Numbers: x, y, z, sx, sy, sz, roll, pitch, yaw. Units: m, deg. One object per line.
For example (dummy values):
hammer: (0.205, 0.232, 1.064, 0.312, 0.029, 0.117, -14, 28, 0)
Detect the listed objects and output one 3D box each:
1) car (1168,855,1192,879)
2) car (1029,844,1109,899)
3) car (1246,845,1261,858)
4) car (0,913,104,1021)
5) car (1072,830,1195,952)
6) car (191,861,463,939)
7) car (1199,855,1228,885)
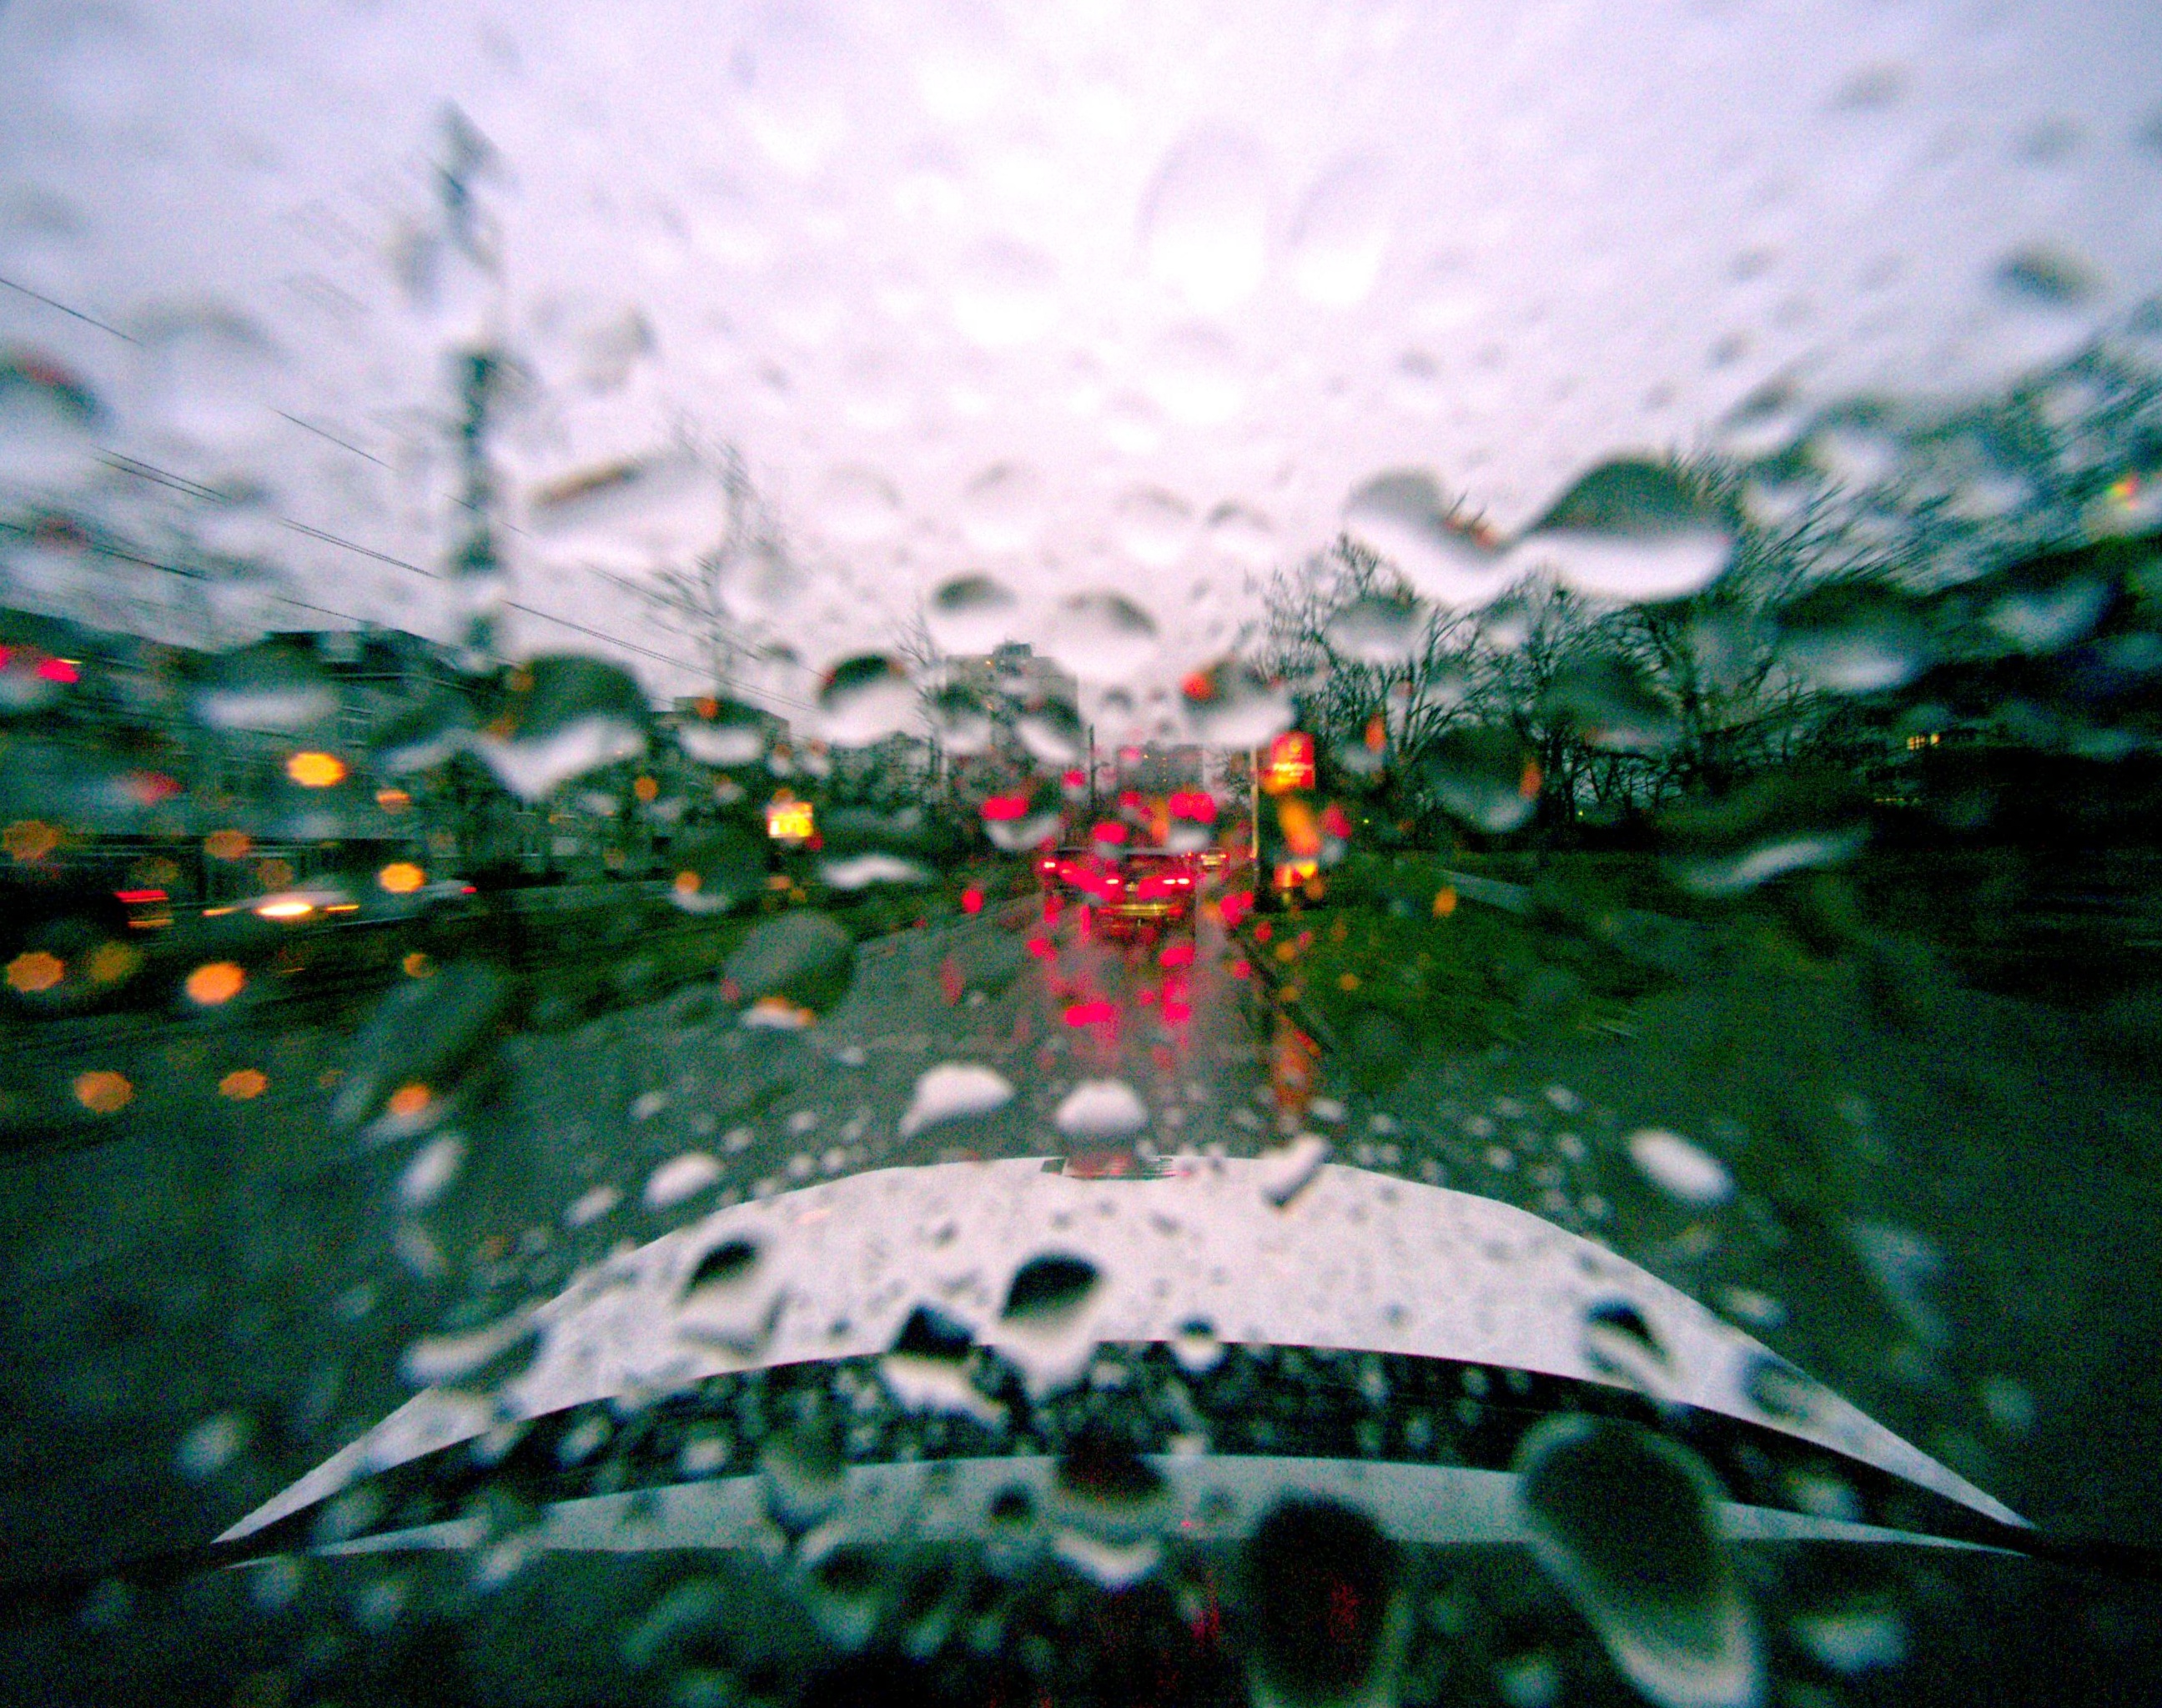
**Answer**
car: (7.985, 1.049, 65.389, 1.762, 1.892, 3.651, 0, -1, 9)
car: (-0.320, 0.590, 27.745, 1.982, 1.712, 4.335, 0, -1, 9)
car: (20.296, -0.266, 96.013, 1.526, 1.513, 3.351, 0, -1, 9)
car: (-17.715, 1.789, 12.001, 1.800, 1.606, 3.997, 0, -1, -2)
car: (1.043, 0.633, 15.262, 1.984, 1.976, 4.074, 0, -1, 5)
car: (-16.652, 0.949, 18.434, 1.583, 1.529, 4.931, 0, -1, -1)
car: (8.948, 1.076, 55.086, 1.845, 1.892, 4.010, 0, -1, 9)
